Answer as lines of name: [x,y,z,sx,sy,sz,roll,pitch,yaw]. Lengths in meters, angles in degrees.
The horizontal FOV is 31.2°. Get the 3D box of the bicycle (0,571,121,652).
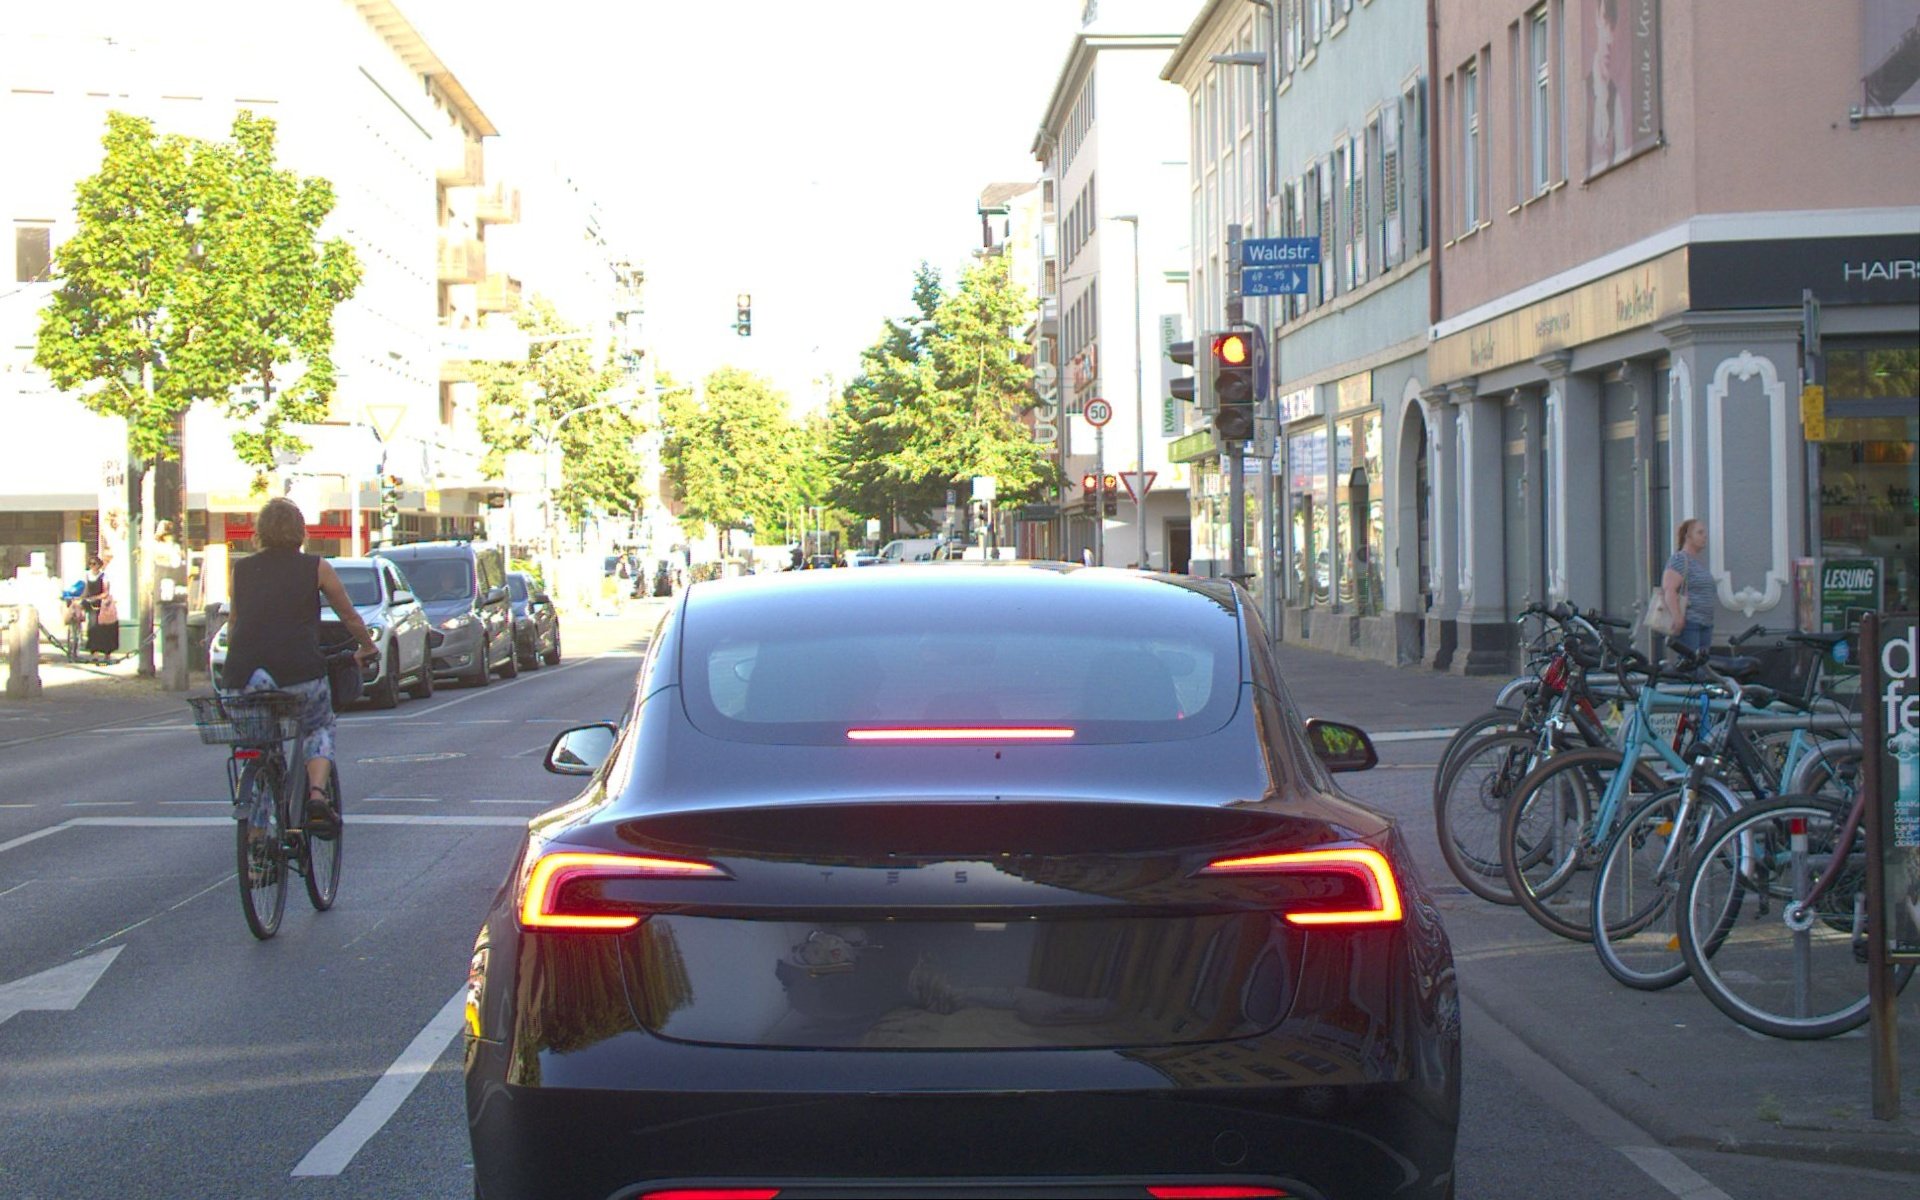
bicycle: [-14.694,0.167,54.570,2.542,1.247,0.943,1,0,-3]

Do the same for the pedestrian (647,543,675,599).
pedestrian: [-10.093,-0.980,116.003,0.694,1.861,0.910,1,0,-20]

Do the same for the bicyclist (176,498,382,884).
bicyclist: [-2.704,0.347,13.724,0.606,1.479,0.958,1,0,1]

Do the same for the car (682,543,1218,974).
car: [-0.060,0.529,14.203,1.850,1.476,4.452,1,1,-1]

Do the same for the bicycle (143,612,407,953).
bicycle: [-2.716,0.684,13.816,0.628,1.219,2.001,1,1,1]

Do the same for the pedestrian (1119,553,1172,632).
pedestrian: [3.804,-0.148,70.555,0.806,1.604,0.709,0,1,-37]

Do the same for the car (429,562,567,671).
car: [-6.653,0.208,49.802,1.461,1.425,3.606,-4,1,-1]

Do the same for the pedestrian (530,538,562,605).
pedestrian: [-11.663,-0.808,96.882,0.732,1.861,0.791,1,0,-17]

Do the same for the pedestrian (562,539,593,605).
pedestrian: [-10.824,-0.801,97.270,0.732,1.861,0.791,1,0,-17]

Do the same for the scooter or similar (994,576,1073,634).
scooter or similar: [1.447,0.105,68.153,1.333,1.131,0.810,1,0,-24]

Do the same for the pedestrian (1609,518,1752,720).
pedestrian: [5.609,0.143,26.766,0.789,1.544,0.724,1,0,-31]

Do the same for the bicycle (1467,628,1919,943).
bicycle: [2.800,0.661,12.533,1.813,1.098,0.653,0,1,1]

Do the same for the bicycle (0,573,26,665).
bicycle: [-14.486,0.239,47.552,2.875,1.266,0.943,1,0,-3]

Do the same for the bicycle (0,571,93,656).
bicycle: [-14.532,0.193,52.146,2.542,1.247,0.943,1,0,-3]

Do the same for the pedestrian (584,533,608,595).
pedestrian: [-10.993,-1.075,103.884,0.695,1.861,0.659,1,0,-5]

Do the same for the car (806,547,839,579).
car: [-7.883,-2.108,197.370,1.892,1.807,3.925,1,1,-2]

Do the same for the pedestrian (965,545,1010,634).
pedestrian: [0.538,-0.211,67.711,0.658,1.754,0.654,1,0,-24]

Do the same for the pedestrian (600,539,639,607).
pedestrian: [-9.379,-0.754,94.670,0.734,1.861,0.789,1,0,28]

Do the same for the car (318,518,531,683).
car: [-6.572,-0.032,42.668,1.945,1.940,4.820,0,1,-1]

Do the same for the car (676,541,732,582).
car: [-12.388,-1.876,166.456,2.414,1.963,4.678,0,1,-1]

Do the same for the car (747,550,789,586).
car: [-10.435,-1.748,187.139,2.132,1.963,4.134,0,1,-1]

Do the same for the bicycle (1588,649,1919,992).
bicycle: [2.999,0.697,11.126,1.813,1.056,0.653,0,1,1]

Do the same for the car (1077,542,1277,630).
car: [4.711,-0.323,74.680,3.992,1.861,1.698,0,1,-21]

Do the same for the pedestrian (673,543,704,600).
pedestrian: [-8.892,-0.929,112.653,0.774,1.861,1.009,1,0,-18]

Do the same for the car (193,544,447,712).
car: [-6.687,0.259,36.345,1.825,1.559,4.301,-4,1,-1]

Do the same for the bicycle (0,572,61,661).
bicycle: [-14.487,0.221,49.870,2.662,1.255,0.943,1,0,-3]

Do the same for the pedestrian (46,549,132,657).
pedestrian: [-13.211,0.034,52.165,1.092,1.606,1.267,1,0,-7]

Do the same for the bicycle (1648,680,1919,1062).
bicycle: [3.025,0.764,10.055,1.882,1.040,0.653,-1,1,1]

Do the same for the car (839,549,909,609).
car: [-2.603,-0.646,103.203,2.035,1.782,4.007,0,1,-3]

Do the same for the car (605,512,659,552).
car: [-17.118,-3.543,179.647,2.275,2.007,4.717,1,1,1]

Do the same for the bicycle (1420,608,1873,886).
bicycle: [2.922,0.617,14.741,1.813,1.148,0.653,0,1,1]

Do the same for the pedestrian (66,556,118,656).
pedestrian: [-15.500,0.105,61.382,0.844,1.754,0.707,1,0,-16]

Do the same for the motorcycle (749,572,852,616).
motorcycle: [-3.879,-0.151,83.582,2.378,1.032,0.783,1,1,-28]

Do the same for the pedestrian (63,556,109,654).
pedestrian: [-15.792,0.093,62.133,0.658,1.754,0.654,1,0,-26]

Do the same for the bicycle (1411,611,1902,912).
bicycle: [2.730,0.625,13.607,1.813,1.148,0.653,0,1,1]

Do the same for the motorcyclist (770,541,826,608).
motorcyclist: [-3.941,-0.621,83.529,1.109,1.627,0.776,1,0,-26]

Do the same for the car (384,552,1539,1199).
car: [-0.025,0.633,7.778,1.850,1.442,4.452,1,1,-1]

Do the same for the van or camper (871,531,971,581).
van or camper: [-1.894,-2.140,167.553,4.850,2.430,1.851,0,1,-1]
